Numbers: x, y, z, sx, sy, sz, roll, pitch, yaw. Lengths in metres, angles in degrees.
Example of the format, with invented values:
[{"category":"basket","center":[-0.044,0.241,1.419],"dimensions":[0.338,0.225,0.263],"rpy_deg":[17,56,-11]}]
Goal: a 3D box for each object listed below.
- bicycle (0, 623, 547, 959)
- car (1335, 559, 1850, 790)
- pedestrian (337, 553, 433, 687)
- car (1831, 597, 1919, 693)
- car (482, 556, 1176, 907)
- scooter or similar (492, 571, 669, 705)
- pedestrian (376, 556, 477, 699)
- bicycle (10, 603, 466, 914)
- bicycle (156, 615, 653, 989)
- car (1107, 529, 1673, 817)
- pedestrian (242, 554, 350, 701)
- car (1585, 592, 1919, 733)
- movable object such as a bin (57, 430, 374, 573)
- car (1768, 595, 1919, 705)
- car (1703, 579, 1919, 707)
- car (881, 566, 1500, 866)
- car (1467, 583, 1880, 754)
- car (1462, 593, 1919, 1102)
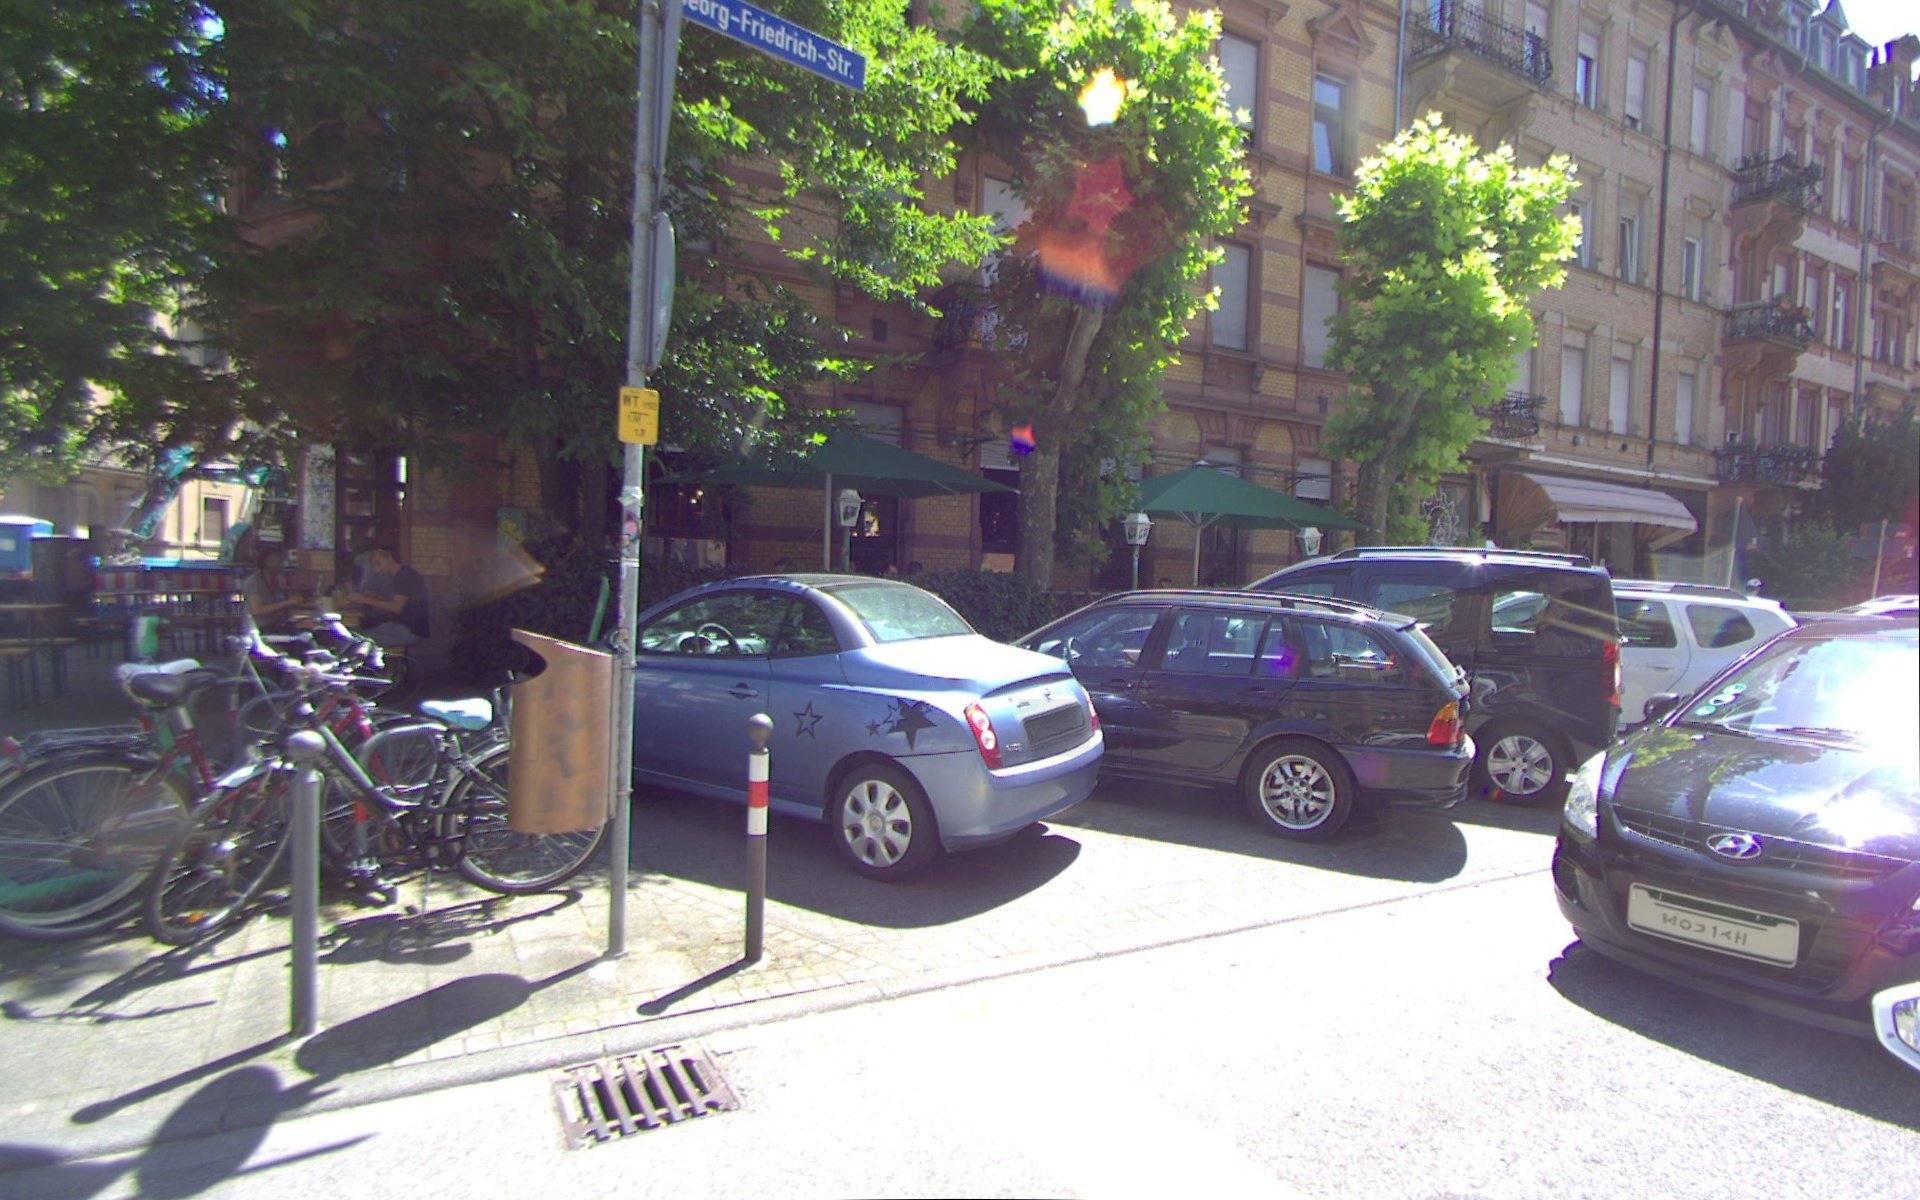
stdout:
[{"category":"bicycle","center":[-2.794,0.677,4.231],"dimensions":[1.884,1.096,0.486],"rpy_deg":[0,4,-42]},{"category":"car","center":[6.035,0.541,9.950],"dimensions":[3.937,1.680,1.752],"rpy_deg":[5,4,38]},{"category":"pedestrian","center":[-5.585,0.178,9.767],"dimensions":[0.547,1.236,0.597],"rpy_deg":[3,2,27]},{"category":"car","center":[18.208,0.863,17.908],"dimensions":[3.861,1.641,1.858],"rpy_deg":[3,2,38]},{"category":"car","center":[-0.886,0.531,6.348],"dimensions":[3.929,1.394,1.996],"rpy_deg":[5,4,30]},{"category":"scooter or similar","center":[-3.377,0.342,8.996],"dimensions":[1.448,1.136,0.277],"rpy_deg":[1,4,-21]},{"category":"pedestrian","center":[-4.849,0.231,9.143],"dimensions":[0.547,1.236,0.597],"rpy_deg":[3,2,27]},{"category":"bicycle","center":[-3.130,0.612,4.492],"dimensions":[1.608,1.172,0.334],"rpy_deg":[0,4,-42]},{"category":"bicycle","center":[-2.145,0.678,4.029],"dimensions":[1.672,1.189,0.486],"rpy_deg":[0,4,-42]},{"category":"car","center":[3.458,0.415,8.525],"dimensions":[3.928,1.829,1.766],"rpy_deg":[5,4,29]},{"category":"pedestrian","center":[-5.889,0.227,8.916],"dimensions":[0.547,1.236,0.597],"rpy_deg":[3,2,27]},{"category":"car","center":[10.456,0.730,12.867],"dimensions":[3.848,1.490,1.864],"rpy_deg":[3,2,24]},{"category":"movable object such as a bin","center":[-19.680,-2.462,27.230],"dimensions":[3.249,3.256,6.749],"rpy_deg":[2,2,4]},{"category":"car","center":[15.810,0.833,16.465],"dimensions":[3.861,1.641,1.858],"rpy_deg":[3,2,38]},{"category":"car","center":[13.244,0.596,14.300],"dimensions":[3.846,1.641,1.865],"rpy_deg":[3,2,21]},{"category":"car","center":[1.626,0.583,7.282],"dimensions":[3.928,1.431,1.967],"rpy_deg":[5,4,29]},{"category":"car","center":[7.962,0.652,11.599],"dimensions":[3.568,1.477,1.620],"rpy_deg":[5,4,32]},{"category":"car","center":[4.280,0.762,4.439],"dimensions":[3.951,1.463,1.747],"rpy_deg":[1,1,-29]}]
